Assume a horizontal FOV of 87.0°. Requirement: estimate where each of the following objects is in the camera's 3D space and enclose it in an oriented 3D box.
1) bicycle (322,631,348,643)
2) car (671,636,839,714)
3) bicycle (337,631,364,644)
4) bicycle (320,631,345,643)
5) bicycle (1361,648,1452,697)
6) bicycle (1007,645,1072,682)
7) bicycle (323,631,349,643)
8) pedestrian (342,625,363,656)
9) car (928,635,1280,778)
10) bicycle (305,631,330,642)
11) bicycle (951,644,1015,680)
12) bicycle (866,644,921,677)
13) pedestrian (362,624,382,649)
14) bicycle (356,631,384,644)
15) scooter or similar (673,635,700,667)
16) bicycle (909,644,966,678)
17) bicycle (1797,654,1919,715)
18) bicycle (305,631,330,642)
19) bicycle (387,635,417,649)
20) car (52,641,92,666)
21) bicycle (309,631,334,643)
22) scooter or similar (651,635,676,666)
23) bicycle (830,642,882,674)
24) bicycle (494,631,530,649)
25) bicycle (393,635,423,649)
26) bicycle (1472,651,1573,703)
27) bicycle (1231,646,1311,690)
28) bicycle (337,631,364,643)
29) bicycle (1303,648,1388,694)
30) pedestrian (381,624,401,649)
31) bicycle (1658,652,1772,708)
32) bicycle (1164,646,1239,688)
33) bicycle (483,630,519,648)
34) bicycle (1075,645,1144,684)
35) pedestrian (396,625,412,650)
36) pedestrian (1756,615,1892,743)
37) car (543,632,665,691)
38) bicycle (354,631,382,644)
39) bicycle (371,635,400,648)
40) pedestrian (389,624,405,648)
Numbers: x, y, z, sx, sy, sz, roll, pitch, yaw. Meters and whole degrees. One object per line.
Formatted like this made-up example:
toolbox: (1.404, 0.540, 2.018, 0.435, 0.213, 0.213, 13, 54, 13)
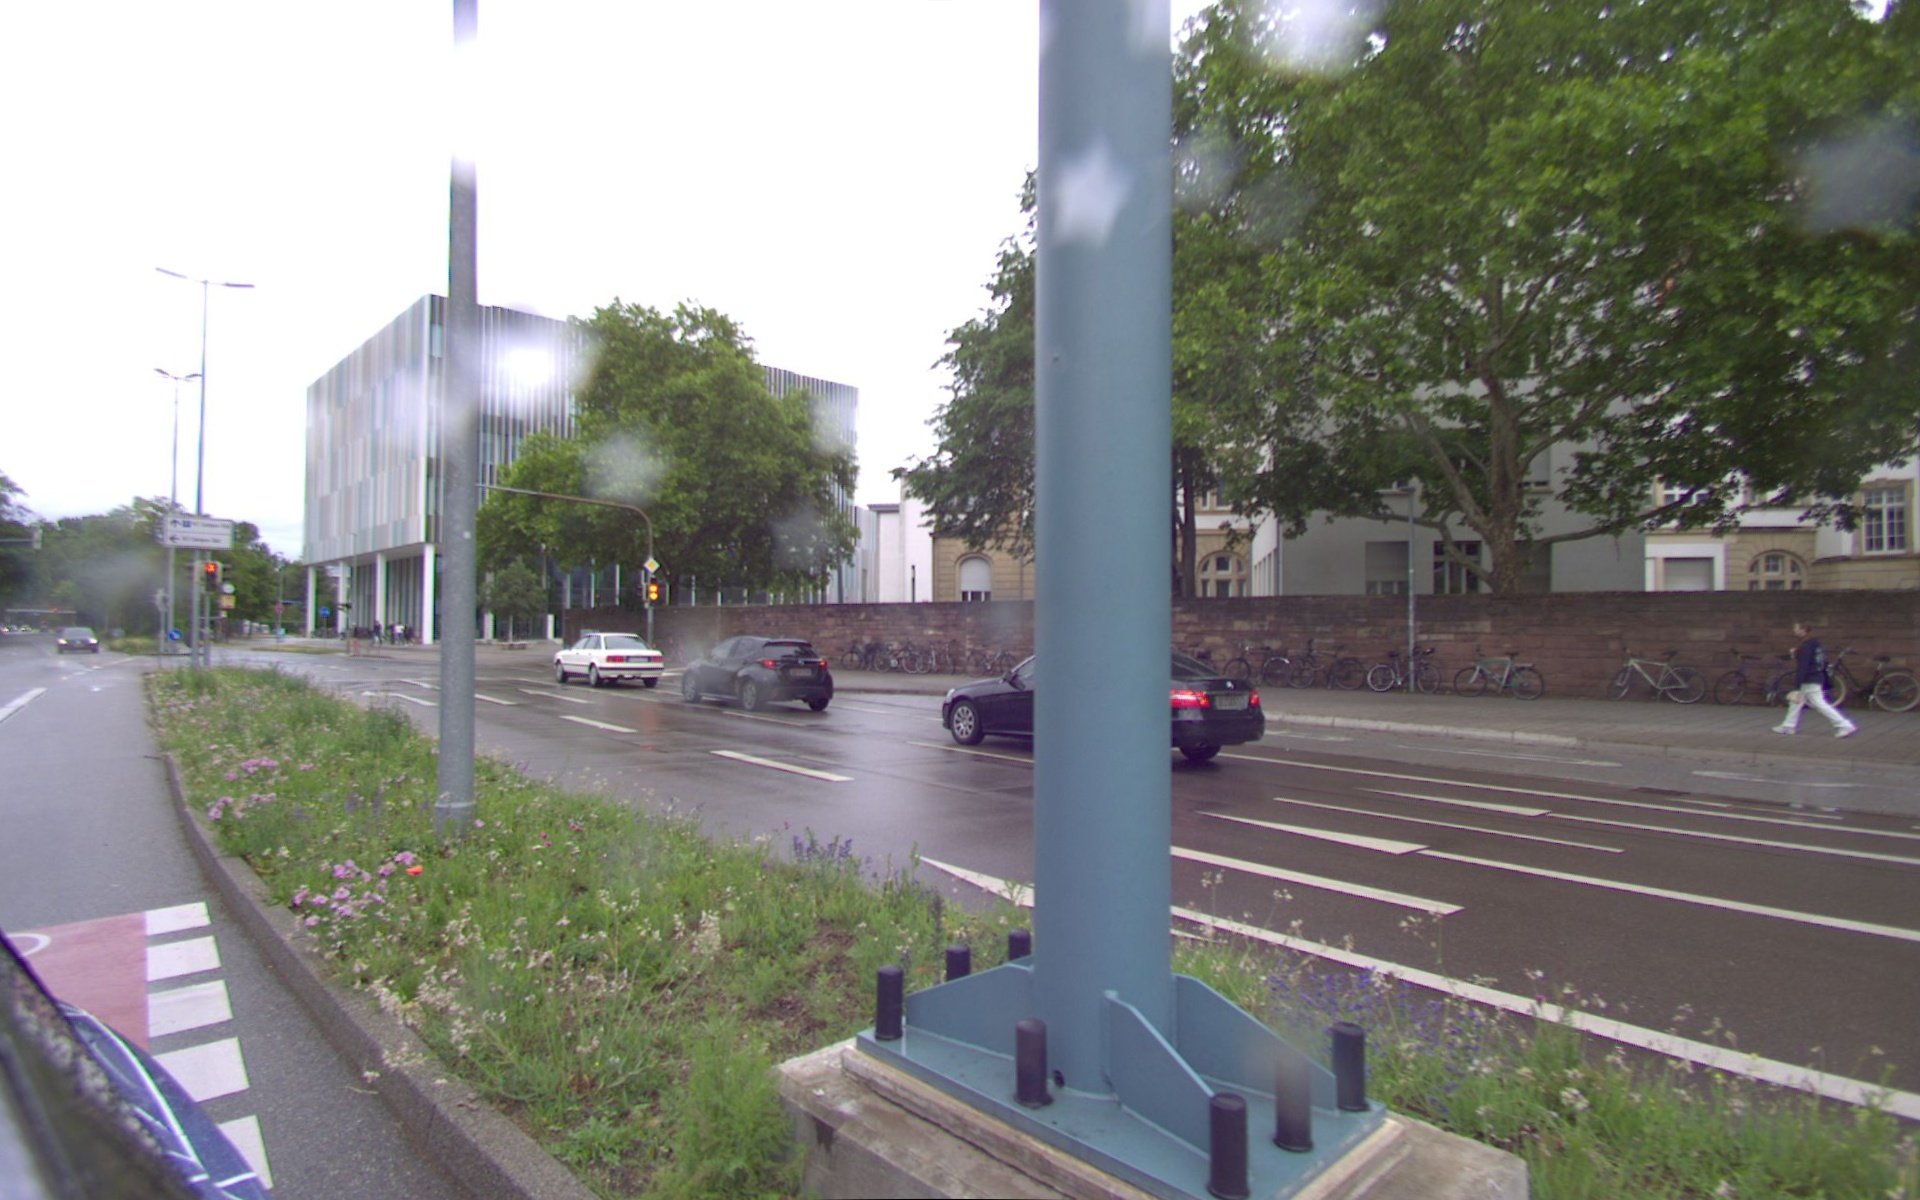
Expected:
bicycle: (-65.527, 3.868, 106.129, 2.247, 1.231, 0.600, 1, -2, -32)
car: (-4.296, 1.478, 20.758, 1.603, 1.426, 4.073, 4, -4, -40)
bicycle: (-59.716, 3.644, 99.191, 2.247, 1.231, 0.600, 1, -2, -32)
bicycle: (-66.402, 3.898, 107.085, 2.247, 1.231, 0.600, 1, -2, -32)
bicycle: (9.853, 1.581, 22.364, 1.699, 0.990, 0.724, -1, -2, 39)
bicycle: (2.224, 1.777, 28.441, 1.699, 0.990, 0.724, -1, -2, 39)
bicycle: (-65.049, 3.849, 105.549, 2.247, 1.231, 0.600, 1, -2, -32)
pedestrian: (-36.914, 2.469, 61.529, 0.792, 1.838, 0.780, -1, -2, 26)
car: (1.712, 1.275, 13.544, 1.785, 1.552, 4.712, 4, -4, -38)
bicycle: (-70.093, 4.003, 110.440, 2.247, 1.231, 0.600, 1, -2, -32)
bicycle: (0.663, 1.785, 29.508, 1.864, 0.990, 0.723, -2, -2, 43)
bicycle: (-2.128, 1.920, 32.194, 1.699, 0.990, 0.724, -1, -2, 39)
pedestrian: (-44.013, 2.726, 75.783, 0.916, 1.838, 0.934, -1, -2, 19)
bicycle: (-55.810, 3.536, 95.727, 2.247, 1.231, 0.600, 1, -2, -32)
scooter or similar: (-10.877, 2.014, 40.187, 1.142, 1.206, 0.387, -2, 4, 43)
bicycle: (-0.698, 1.859, 31.217, 1.699, 0.990, 0.724, -1, -2, 39)
bicycle: (15.953, 1.473, 17.930, 1.699, 0.990, 0.724, -1, -2, 39)
bicycle: (-69.329, 3.964, 109.257, 2.247, 1.231, 0.600, 1, -2, -32)
bicycle: (-49.424, 3.687, 89.654, 0.598, 1.231, 2.258, -1, -3, 36)
car: (-51.084, 3.056, 58.199, 1.636, 1.375, 4.111, 2, -3, -42)
bicycle: (-67.995, 3.917, 107.769, 2.247, 1.231, 0.600, 1, -2, -32)
scooter or similar: (-12.162, 2.056, 41.495, 1.142, 1.206, 0.386, -2, 4, 45)
bicycle: (-3.468, 1.919, 33.717, 1.699, 0.990, 0.724, -1, -2, 39)
bicycle: (-30.972, 2.747, 69.997, 0.598, 1.231, 2.258, -1, -3, 36)
bicycle: (-48.774, 3.681, 89.408, 0.598, 1.231, 2.258, -1, -3, 36)
bicycle: (11.458, 1.547, 20.636, 1.699, 0.990, 0.724, -1, -2, 39)
bicycle: (7.453, 1.625, 24.304, 1.699, 0.990, 0.724, -1, -2, 39)
bicycle: (-60.162, 3.667, 99.901, 2.247, 1.231, 0.600, 1, -2, -32)
bicycle: (8.853, 1.609, 23.277, 1.699, 0.990, 0.724, -1, -2, 39)
pedestrian: (-43.035, 2.755, 76.527, 0.919, 1.838, 0.931, -1, -2, 26)
bicycle: (14.350, 1.502, 19.264, 1.699, 0.990, 0.724, -1, -2, 39)
bicycle: (6.032, 1.657, 25.325, 1.699, 0.990, 0.724, -1, -2, 39)
bicycle: (-31.922, 2.695, 70.472, 0.598, 1.231, 2.258, -1, -3, 36)
bicycle: (4.003, 1.728, 27.204, 1.699, 0.990, 0.724, -1, -2, 39)
pedestrian: (-40.671, 2.739, 74.075, 0.621, 1.838, 0.780, -1, -2, 26)
pedestrian: (12.274, 1.080, 14.389, 1.400, 1.708, 0.859, -2, -2, 43)
car: (-9.653, 1.611, 27.223, 1.576, 1.426, 4.532, 4, -3, -40)
bicycle: (-56.505, 3.563, 96.566, 2.247, 1.231, 0.600, 1, -2, -32)
bicycle: (-51.661, 3.727, 91.016, 0.598, 1.231, 2.258, -1, -3, 36)
pedestrian: (-42.009, 2.686, 75.503, 0.621, 1.838, 0.780, -1, -2, 26)
